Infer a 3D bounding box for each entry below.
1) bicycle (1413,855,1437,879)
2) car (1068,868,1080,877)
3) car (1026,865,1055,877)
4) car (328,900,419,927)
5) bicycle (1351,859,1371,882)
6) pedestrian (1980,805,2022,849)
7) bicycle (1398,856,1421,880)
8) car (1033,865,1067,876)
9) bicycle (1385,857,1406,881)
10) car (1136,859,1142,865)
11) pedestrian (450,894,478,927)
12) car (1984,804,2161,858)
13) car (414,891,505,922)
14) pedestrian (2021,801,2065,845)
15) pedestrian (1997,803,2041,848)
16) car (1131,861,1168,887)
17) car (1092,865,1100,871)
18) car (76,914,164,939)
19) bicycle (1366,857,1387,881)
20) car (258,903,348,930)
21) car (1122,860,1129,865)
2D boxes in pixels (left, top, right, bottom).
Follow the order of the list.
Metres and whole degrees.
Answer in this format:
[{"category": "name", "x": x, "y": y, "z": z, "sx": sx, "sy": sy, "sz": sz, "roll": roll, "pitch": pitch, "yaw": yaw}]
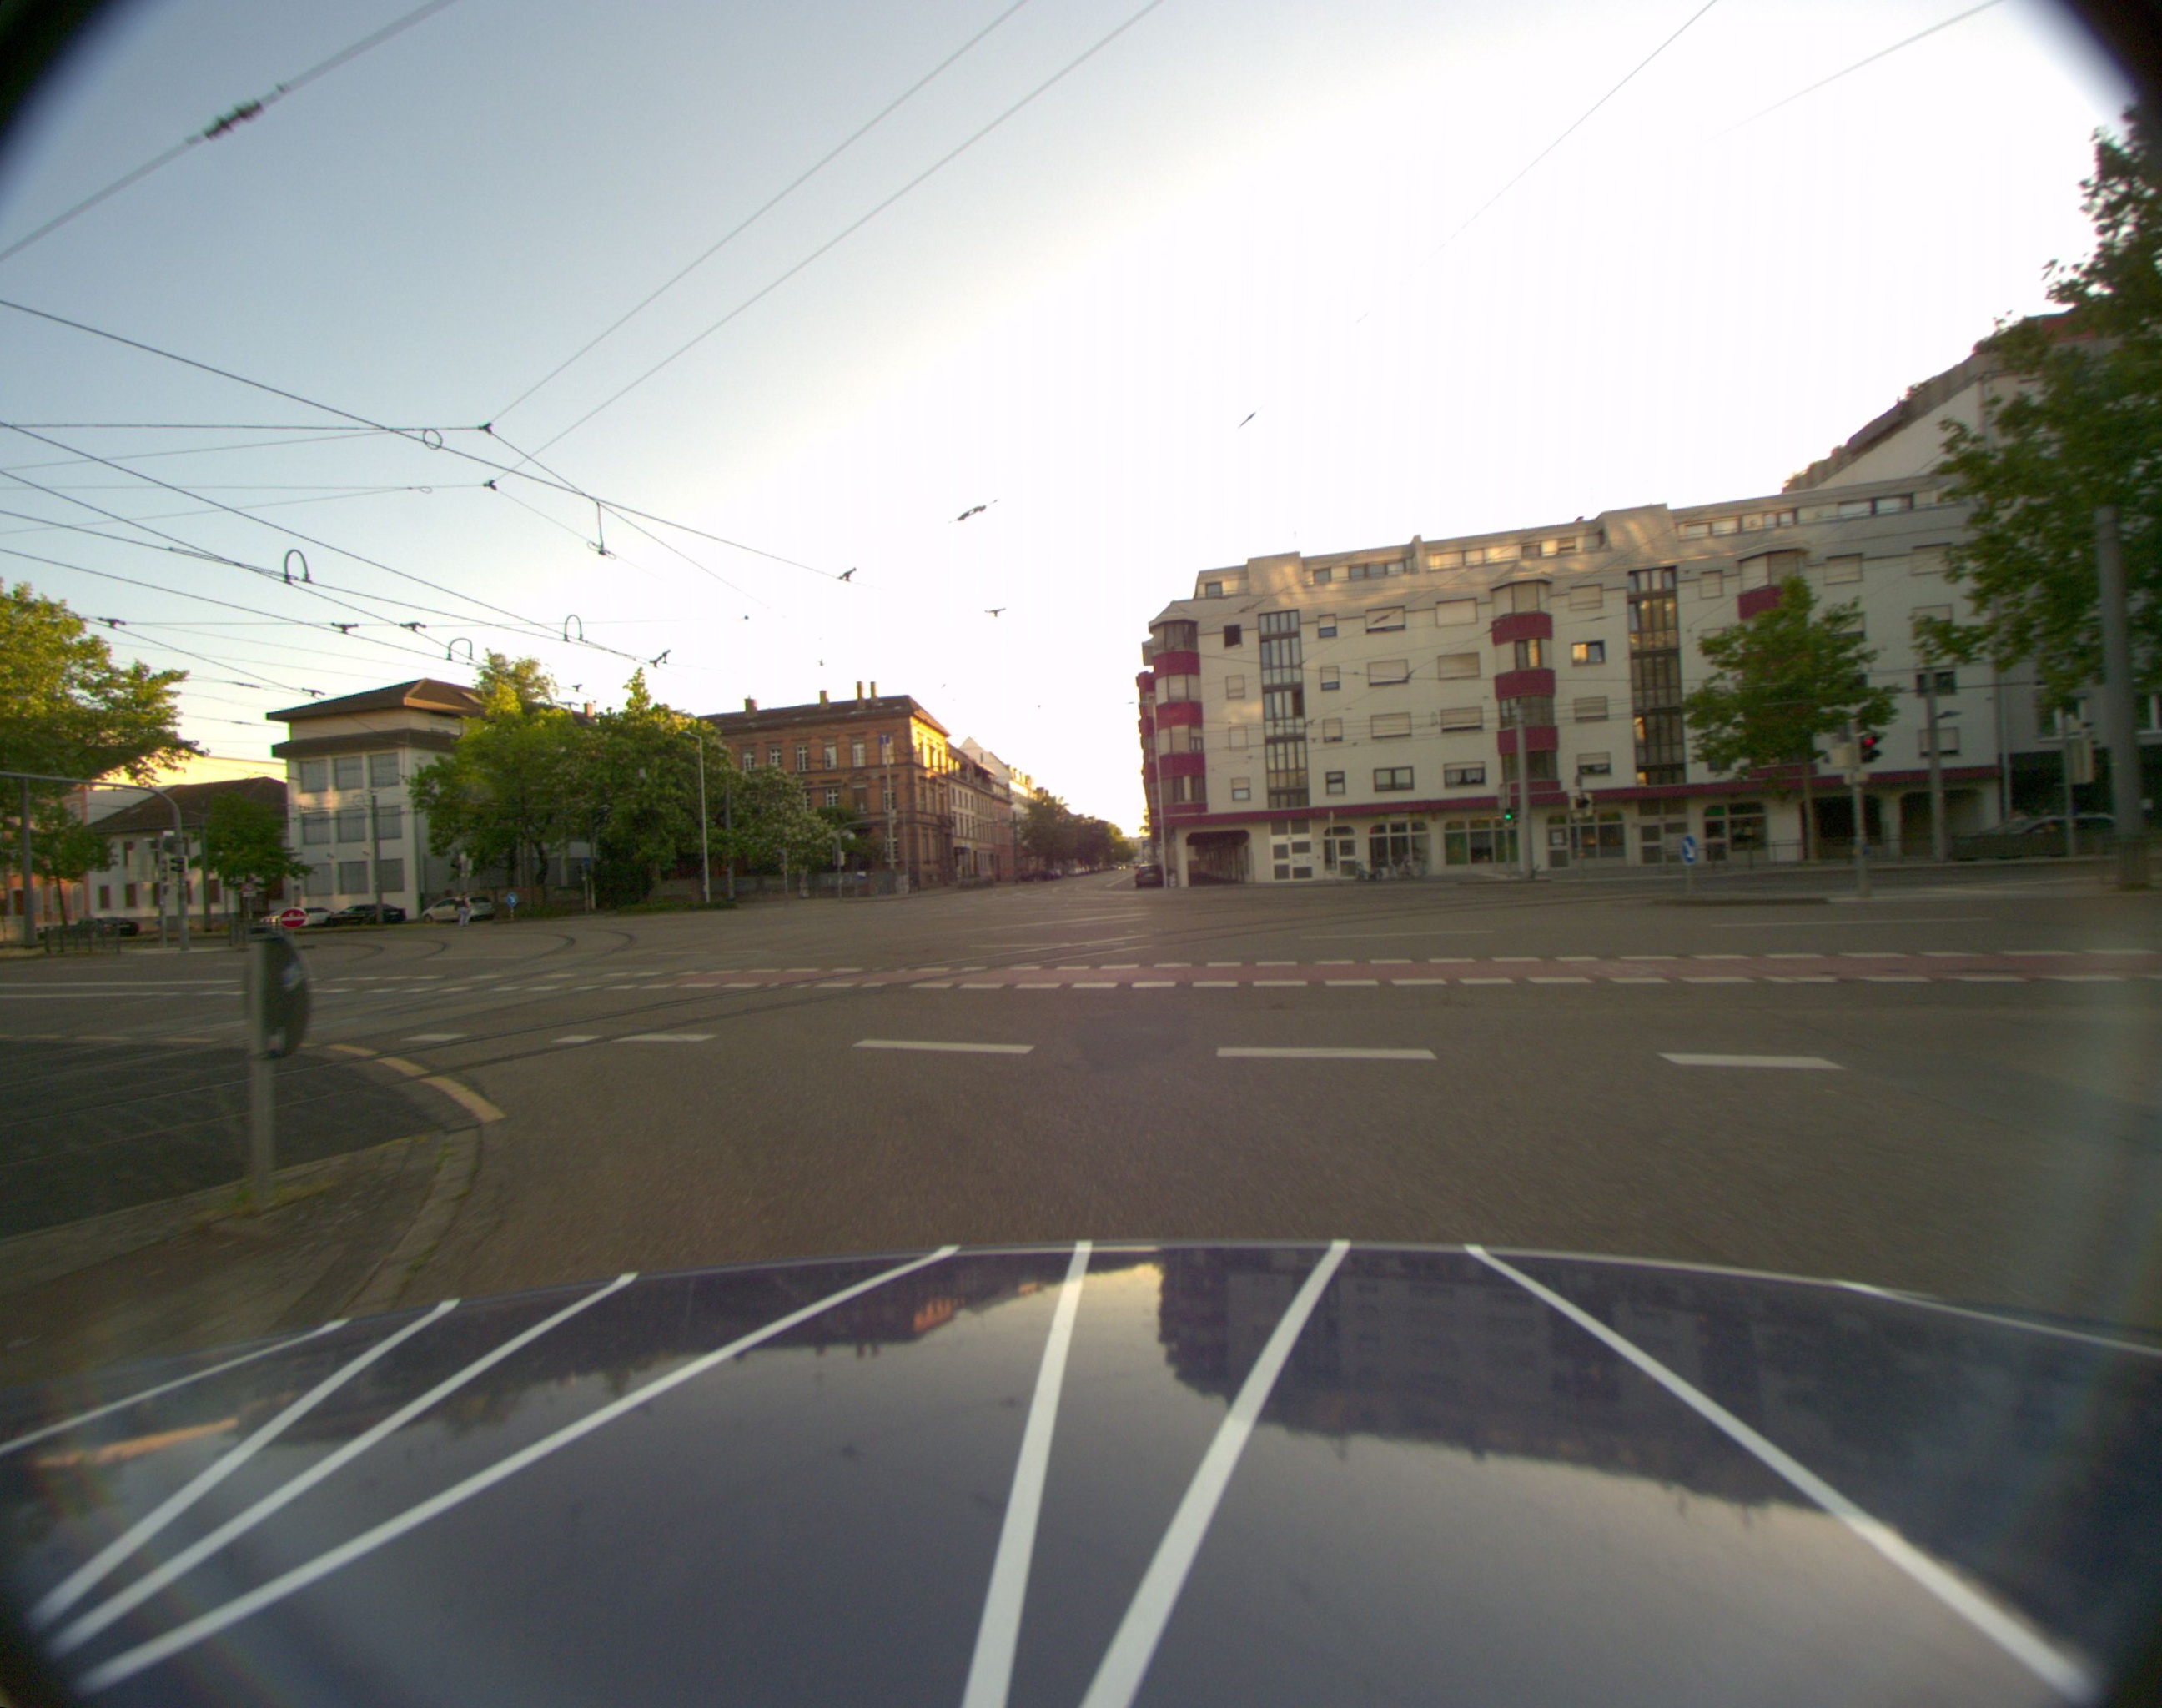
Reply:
[{"category": "bicycle", "x": 15.932, "y": 0.586, "z": 35.179, "sx": 0.514, "sy": 1.040, "sz": 1.904, "roll": -3, "pitch": -1, "yaw": 10}, {"category": "car", "x": -1.223, "y": 3.199, "z": 135.370, "sx": 1.785, "sy": 1.448, "sz": 4.298, "roll": -3, "pitch": -1, "yaw": 2}, {"category": "car", "x": -5.564, "y": 2.291, "z": 103.914, "sx": 3.771, "sy": 1.477, "sz": 1.907, "roll": -3, "pitch": 0, "yaw": 1}, {"category": "car", "x": -44.704, "y": 3.743, "z": 48.042, "sx": 4.353, "sy": 1.415, "sz": 2.002, "roll": -3, "pitch": 0, "yaw": 11}, {"category": "bicycle", "x": 13.253, "y": 0.756, "z": 35.980, "sx": 0.514, "sy": 1.040, "sz": 1.904, "roll": -3, "pitch": -1, "yaw": 10}, {"category": "pedestrian", "x": 39.419, "y": -1.142, "z": 32.552, "sx": 0.834, "sy": 1.796, "sz": 0.692, "roll": -3, "pitch": 0, "yaw": 14}, {"category": "bicycle", "x": 15.343, "y": 0.644, "z": 35.555, "sx": 0.514, "sy": 1.040, "sz": 1.904, "roll": -3, "pitch": -1, "yaw": 10}, {"category": "car", "x": -4.499, "y": 2.414, "z": 111.351, "sx": 4.701, "sy": 1.477, "sz": 1.907, "roll": -3, "pitch": 0, "yaw": 1}, {"category": "bicycle", "x": 14.767, "y": 0.690, "z": 35.716, "sx": 0.514, "sy": 1.040, "sz": 1.904, "roll": -3, "pitch": -1, "yaw": 10}, {"category": "car", "x": 16.982, "y": 2.336, "z": 223.137, "sx": 1.785, "sy": 1.448, "sz": 4.298, "roll": -3, "pitch": -1, "yaw": 4}, {"category": "pedestrian", "x": -29.730, "y": 2.705, "z": 36.614, "sx": 0.579, "sy": 1.517, "sz": 0.818, "roll": -3, "pitch": 0, "yaw": 17}, {"category": "car", "x": 34.394, "y": -0.766, "z": 26.111, "sx": 4.095, "sy": 1.586, "sz": 1.668, "roll": -3, "pitch": 0, "yaw": 13}, {"category": "car", "x": -38.108, "y": 3.221, "z": 46.658, "sx": 4.225, "sy": 1.622, "sz": 2.002, "roll": -3, "pitch": 0, "yaw": 11}, {"category": "pedestrian", "x": 40.398, "y": -1.290, "z": 31.906, "sx": 0.834, "sy": 1.796, "sz": 0.692, "roll": -3, "pitch": 0, "yaw": 14}, {"category": "pedestrian", "x": 39.197, "y": -1.168, "z": 31.757, "sx": 0.834, "sy": 1.796, "sz": 0.692, "roll": -3, "pitch": 0, "yaw": 14}, {"category": "car", "x": 4.417, "y": 1.220, "z": 48.281, "sx": 2.005, "sy": 1.448, "sz": 4.300, "roll": -3, "pitch": -1, "yaw": 9}, {"category": "car", "x": 3.585, "y": 3.311, "z": 180.858, "sx": 1.785, "sy": 1.426, "sz": 4.298, "roll": -3, "pitch": -1, "yaw": 2}, {"category": "car", "x": -66.593, "y": 5.010, "z": 52.660, "sx": 4.225, "sy": 1.415, "sz": 2.002, "roll": -3, "pitch": 0, "yaw": 11}, {"category": "bicycle", "x": 13.920, "y": 0.694, "z": 35.820, "sx": 0.514, "sy": 1.040, "sz": 1.904, "roll": -3, "pitch": -1, "yaw": 10}, {"category": "car", "x": -50.300, "y": 4.036, "z": 49.131, "sx": 4.225, "sy": 1.415, "sz": 2.002, "roll": -3, "pitch": 0, "yaw": 11}, {"category": "car", "x": 13.942, "y": 2.573, "z": 236.992, "sx": 1.785, "sy": 1.448, "sz": 4.299, "roll": -3, "pitch": -1, "yaw": 5}]
